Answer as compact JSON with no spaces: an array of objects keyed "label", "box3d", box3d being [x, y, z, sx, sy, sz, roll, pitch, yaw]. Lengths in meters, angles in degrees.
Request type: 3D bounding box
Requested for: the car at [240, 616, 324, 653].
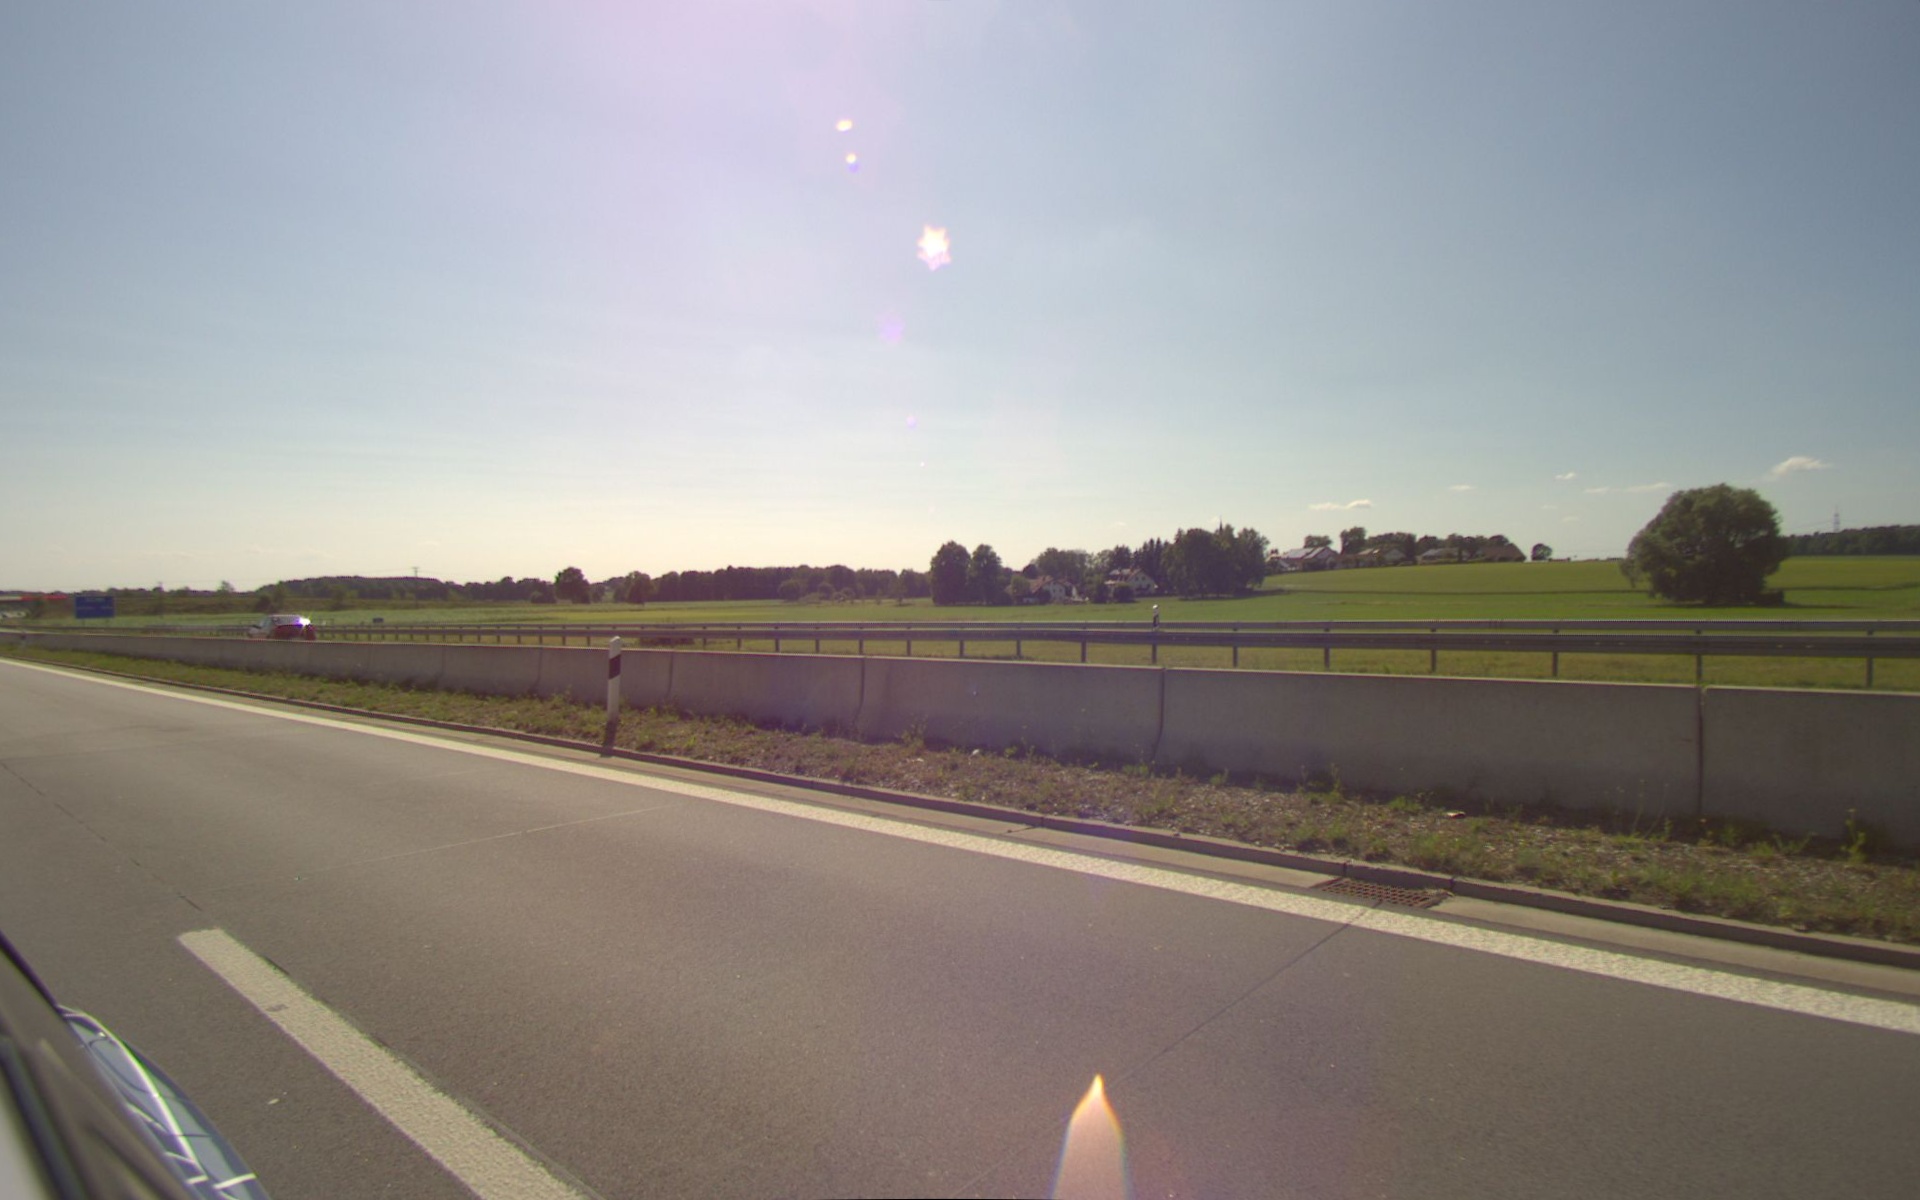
[{"label":"car","box3d":[-29.638,1.491,44.189,4.804,1.535,1.878,-1,-2,41]}]
